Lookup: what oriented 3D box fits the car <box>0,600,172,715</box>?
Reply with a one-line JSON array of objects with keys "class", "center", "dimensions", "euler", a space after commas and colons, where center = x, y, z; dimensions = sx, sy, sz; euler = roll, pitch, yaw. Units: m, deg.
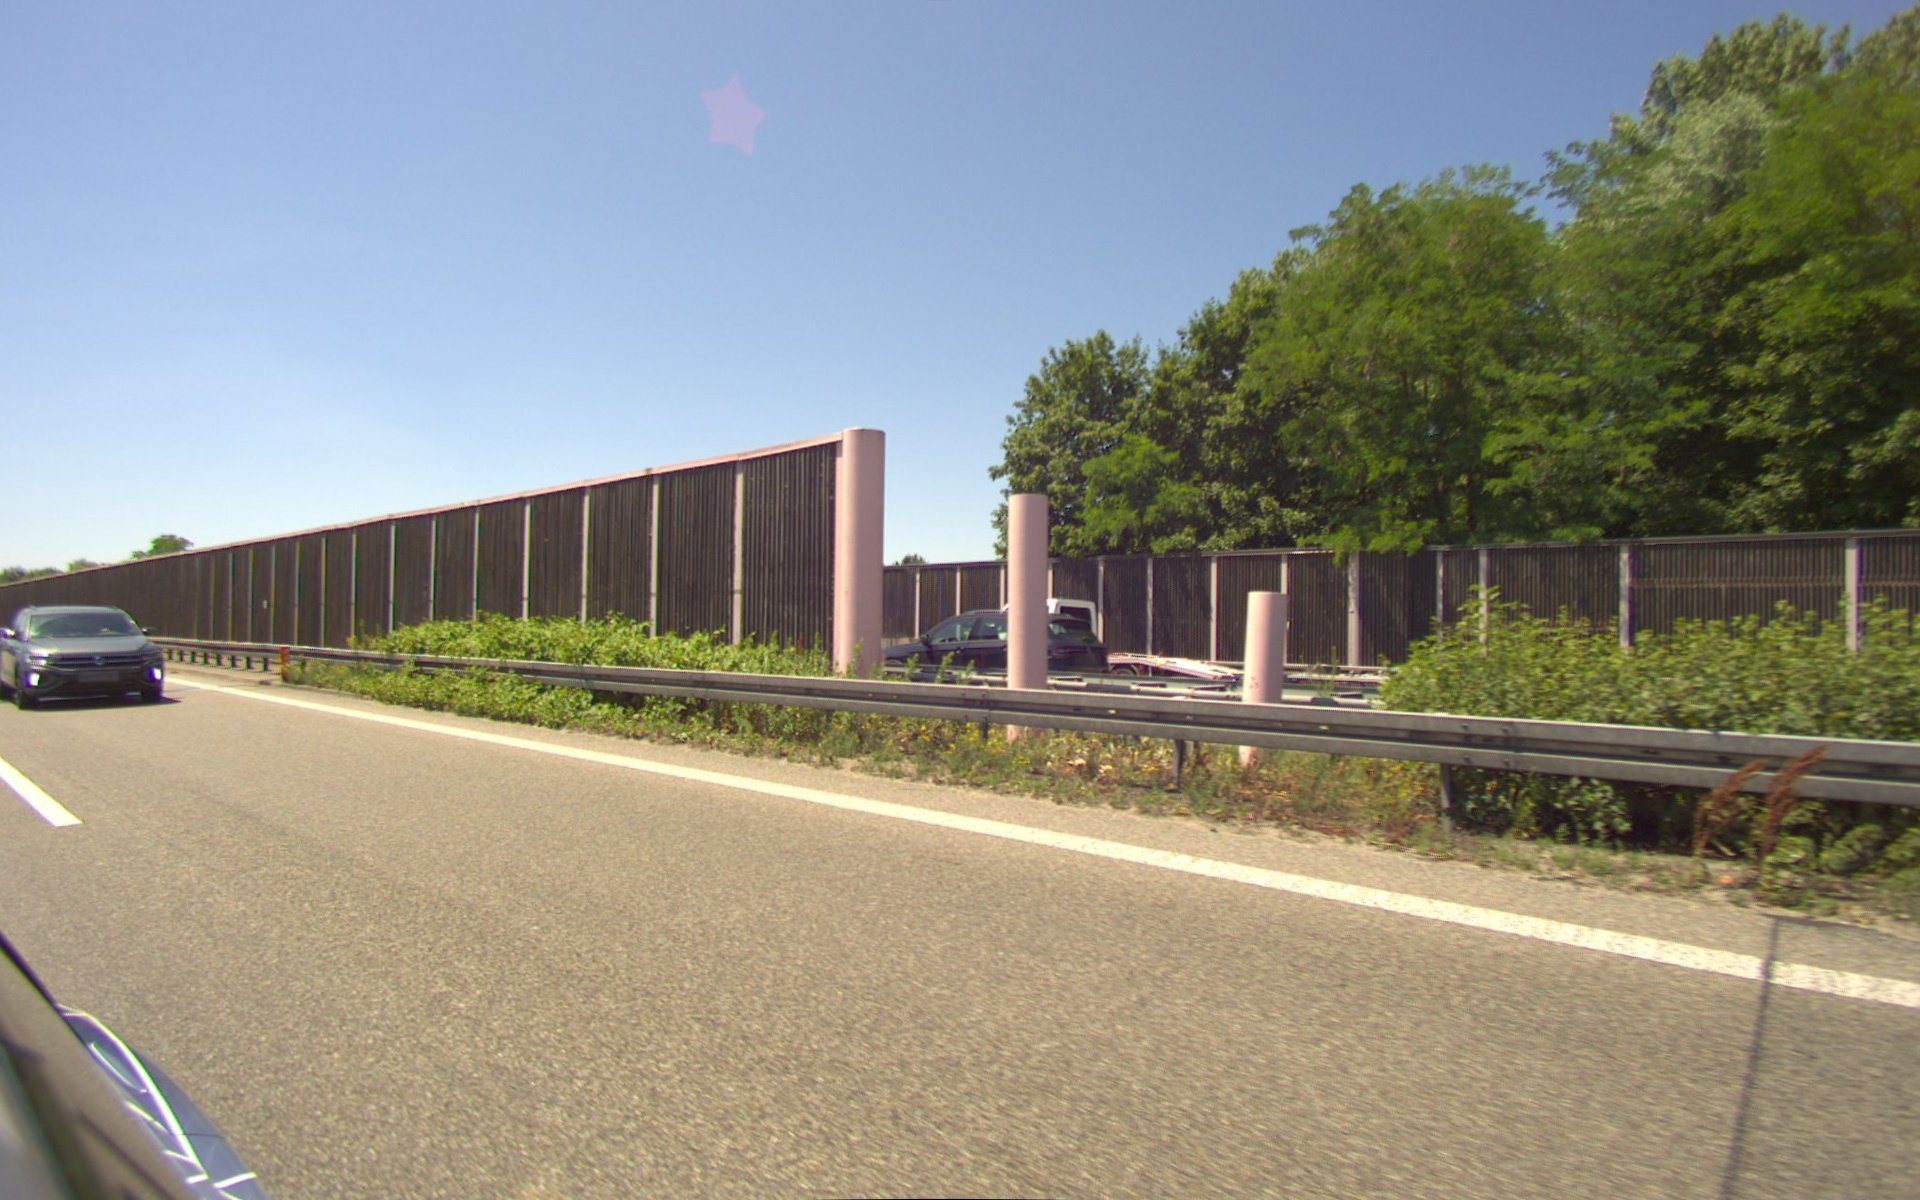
[{"class": "car", "center": [-14.966, 0.904, 16.897], "dimensions": [5.004, 1.652, 1.861], "euler": [-2, -2, 40]}]

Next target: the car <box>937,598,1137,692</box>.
[{"class": "car", "center": [1.805, 1.040, 24.899], "dimensions": [4.764, 2.103, 1.870], "euler": [-1, -1, 41]}]

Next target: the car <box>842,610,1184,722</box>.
[{"class": "car", "center": [0.640, 0.902, 15.635], "dimensions": [5.268, 1.465, 1.870], "euler": [-1, -1, 41]}]

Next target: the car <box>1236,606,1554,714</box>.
[{"class": "car", "center": [8.080, 1.035, 19.146], "dimensions": [5.136, 1.774, 2.069], "euler": [-1, -1, 41]}]
